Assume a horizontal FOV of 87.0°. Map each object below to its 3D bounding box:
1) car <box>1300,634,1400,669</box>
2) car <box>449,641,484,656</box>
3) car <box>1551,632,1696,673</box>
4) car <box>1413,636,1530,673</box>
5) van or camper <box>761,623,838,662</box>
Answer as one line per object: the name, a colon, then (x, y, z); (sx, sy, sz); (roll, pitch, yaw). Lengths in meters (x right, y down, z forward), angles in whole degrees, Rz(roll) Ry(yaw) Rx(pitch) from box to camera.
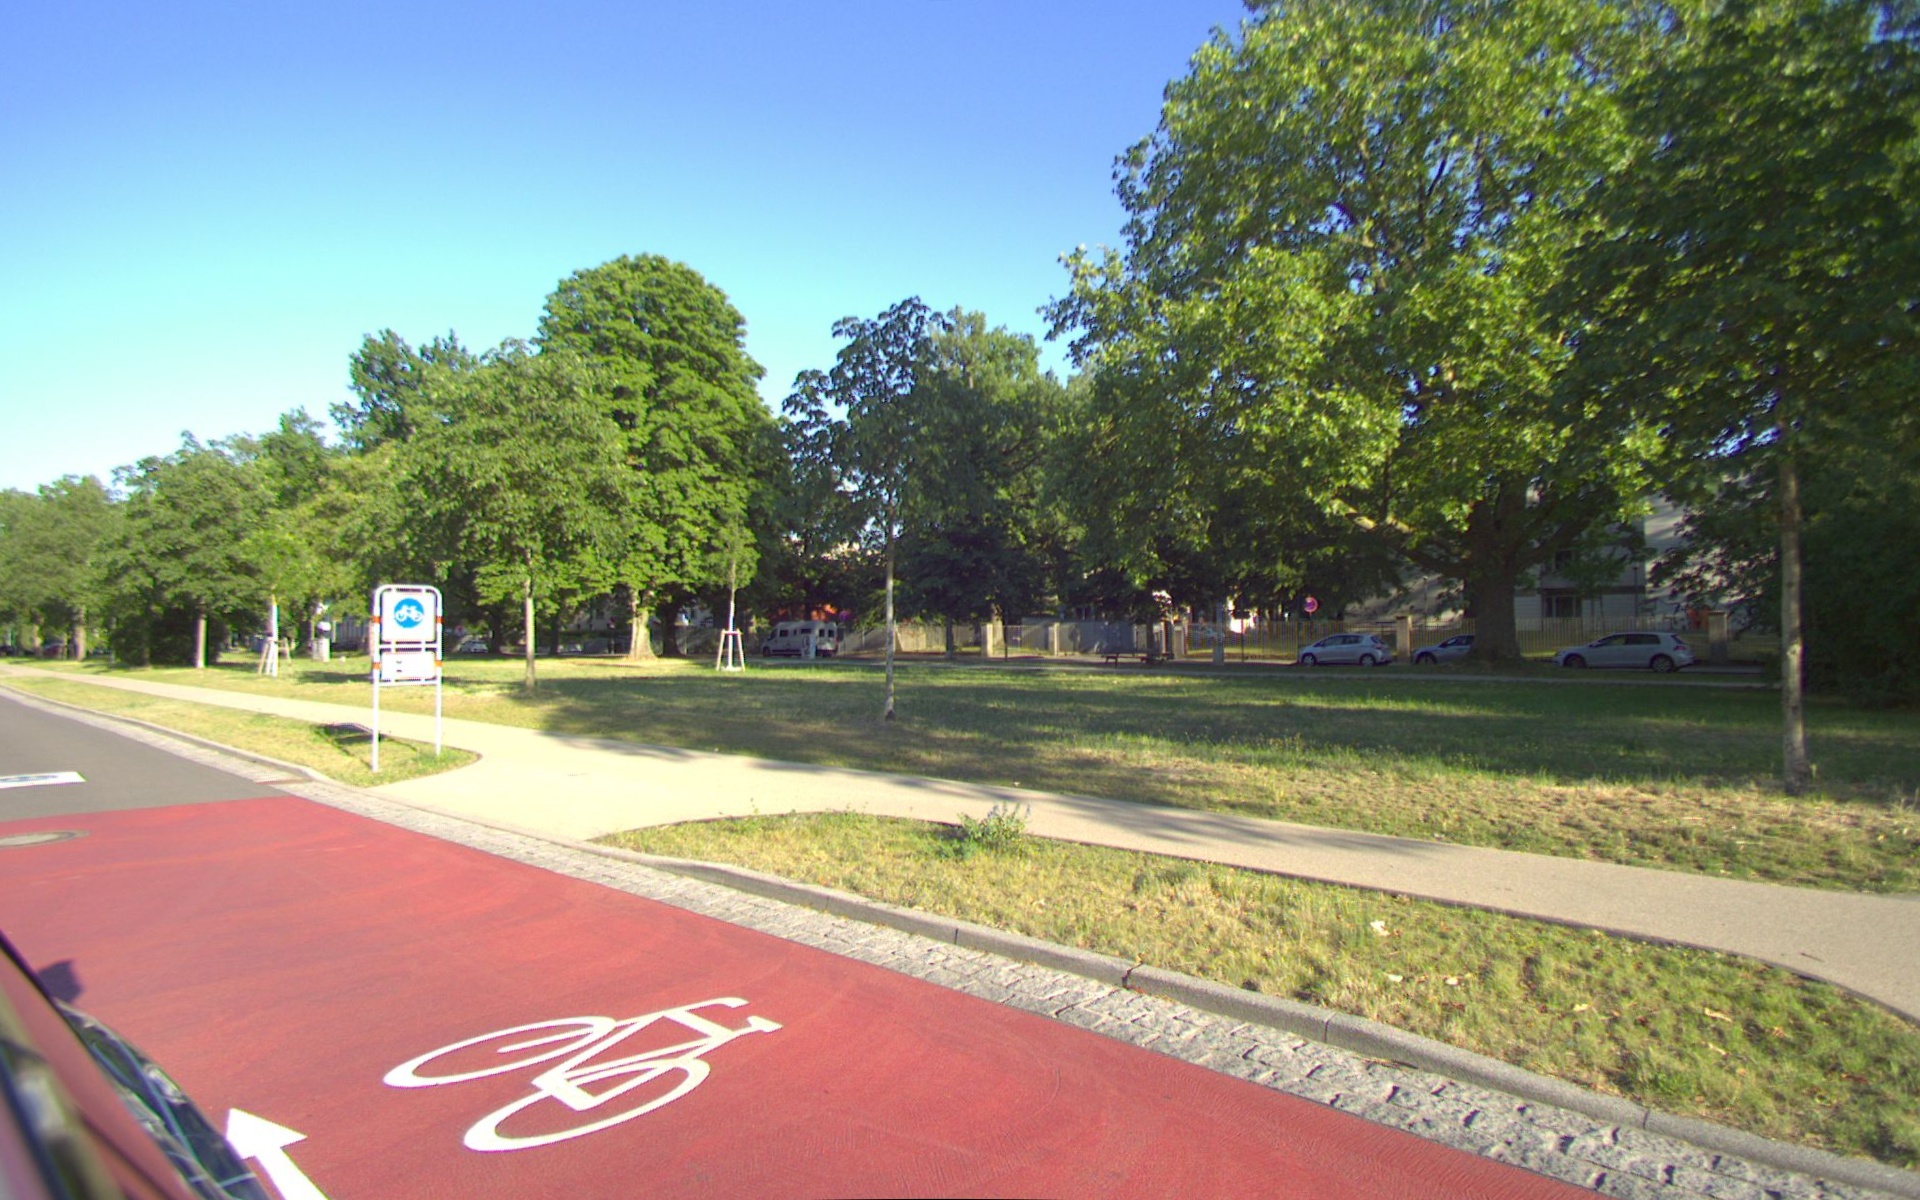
car: (16.483, 2.176, 42.875); (3.648, 1.378, 1.506); (-3, -3, 42)
car: (-50.455, 4.950, 103.460); (3.998, 1.475, 1.773); (-3, -2, 41)
car: (23.595, 1.854, 36.089); (4.107, 1.378, 1.506); (-3, -3, 42)
car: (19.983, 2.120, 39.604); (3.791, 1.378, 1.506); (-3, -3, 42)
van or camper: (-10.800, 2.853, 67.762); (5.463, 2.458, 1.973); (-3, 0, 41)
